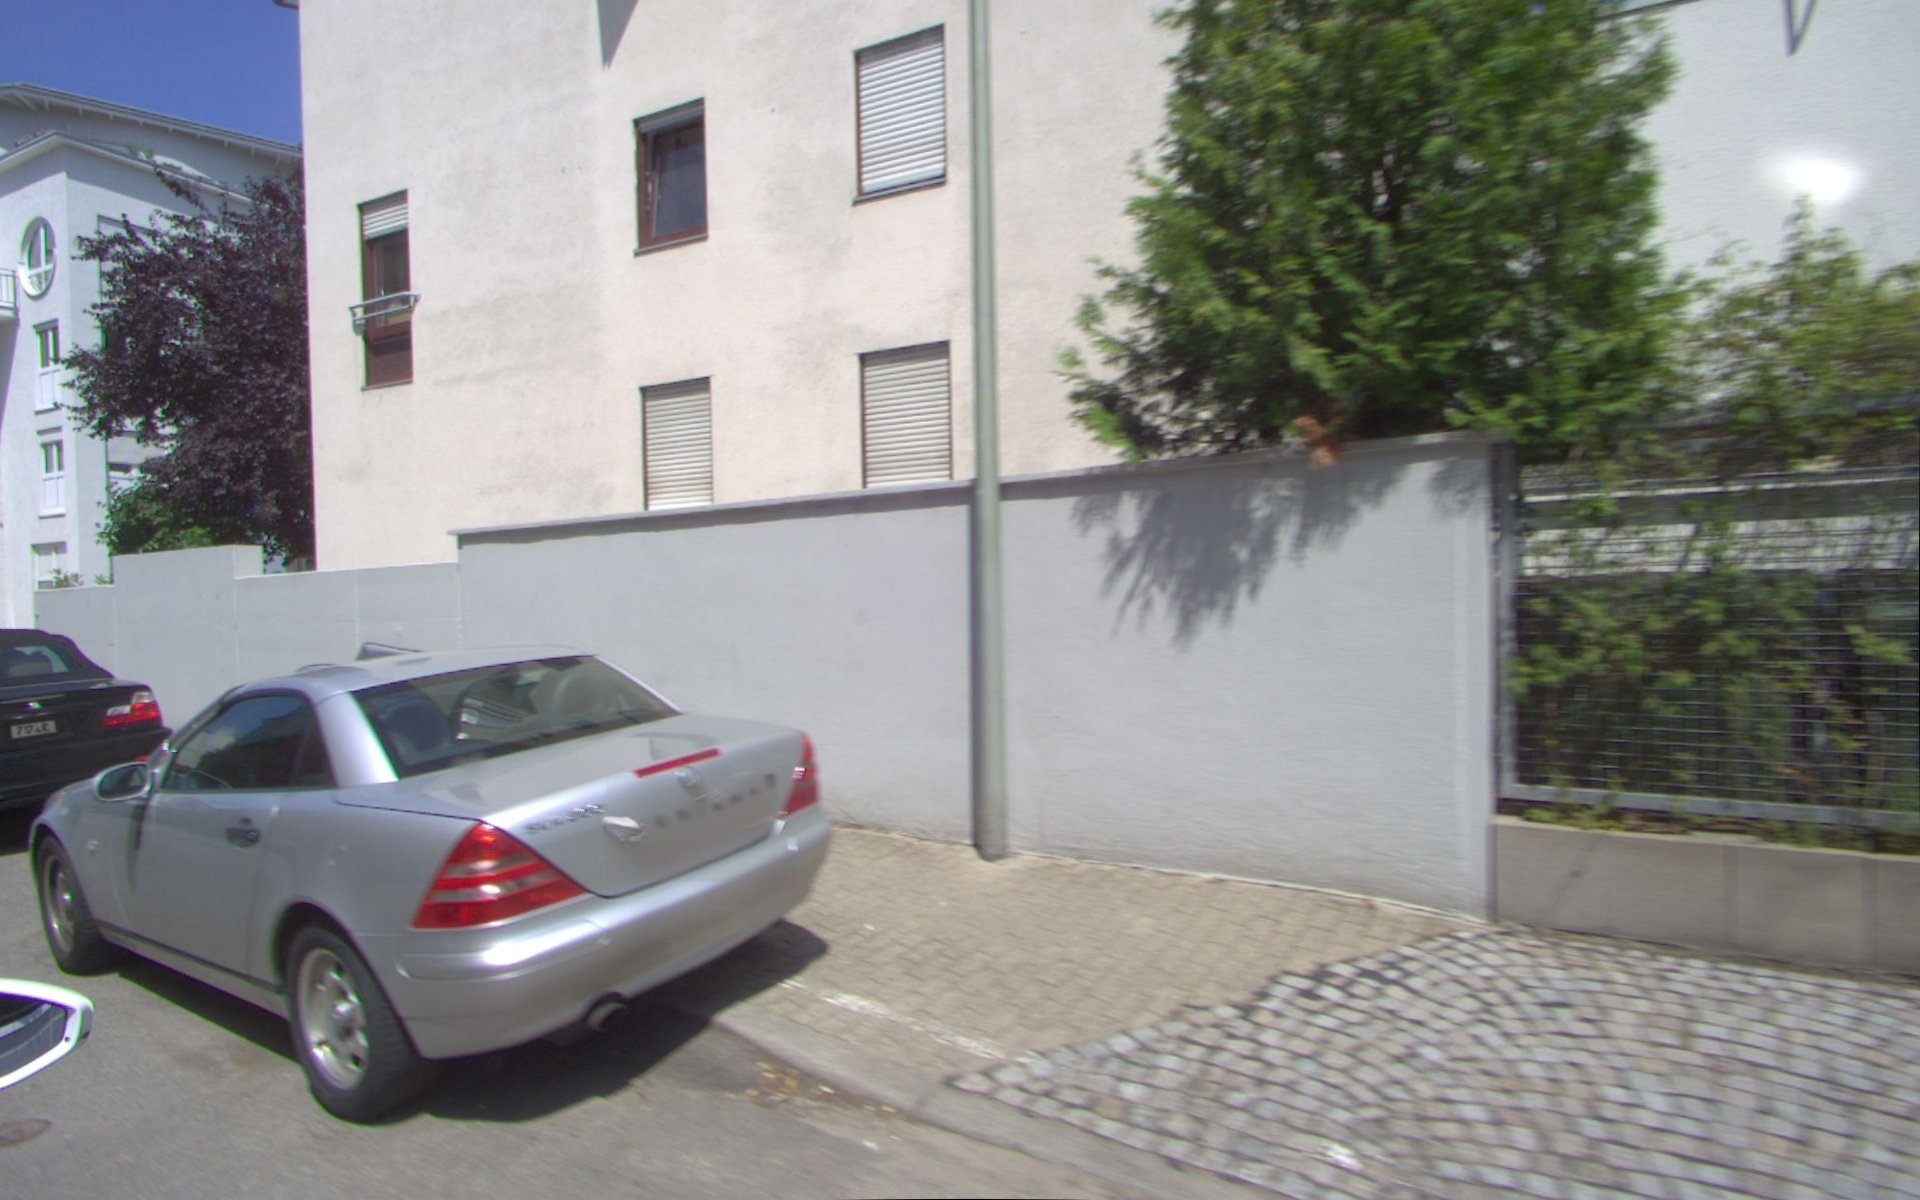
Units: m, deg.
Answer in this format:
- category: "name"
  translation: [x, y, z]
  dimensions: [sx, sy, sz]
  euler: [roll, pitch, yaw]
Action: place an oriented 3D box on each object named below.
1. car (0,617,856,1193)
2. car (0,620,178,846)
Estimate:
- category: "car"
  translation: [-2.416, 0.809, 4.200]
  dimensions: [3.769, 1.372, 1.580]
  euler: [-1, 2, 33]
- category: "car"
  translation: [-7.740, 0.874, 7.446]
  dimensions: [4.177, 1.394, 1.653]
  euler: [-1, 0, 31]
